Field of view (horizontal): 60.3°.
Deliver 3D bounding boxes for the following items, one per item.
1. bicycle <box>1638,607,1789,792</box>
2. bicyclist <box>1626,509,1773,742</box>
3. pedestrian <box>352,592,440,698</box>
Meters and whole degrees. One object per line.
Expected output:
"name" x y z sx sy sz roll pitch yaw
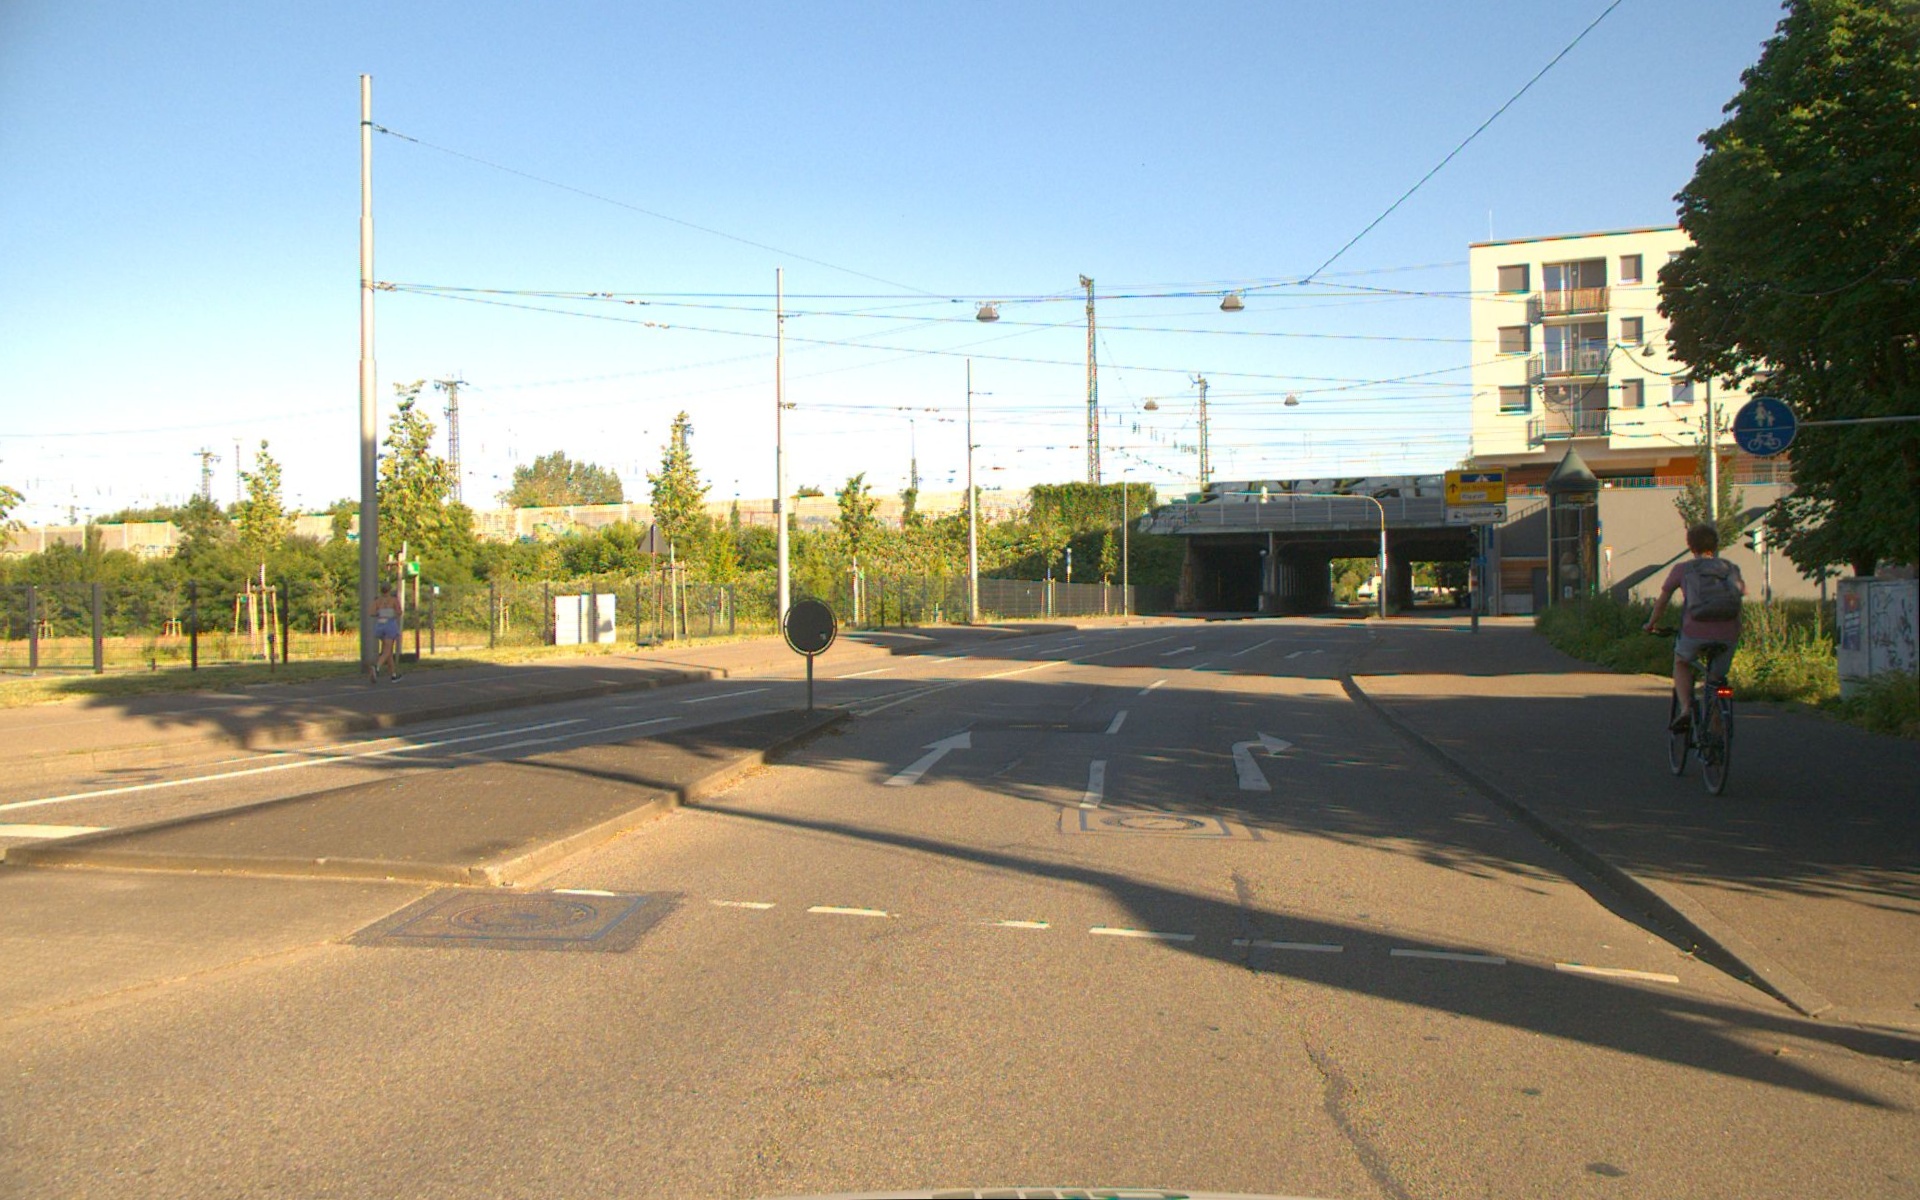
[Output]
"bicycle" 5.572 0.695 12.342 0.703 1.213 2.003 -2 0 16
"bicyclist" 5.469 0.177 12.291 0.794 1.627 1.150 -2 0 16
"pedestrian" -9.361 0.728 27.487 0.815 1.657 1.181 1 2 19
